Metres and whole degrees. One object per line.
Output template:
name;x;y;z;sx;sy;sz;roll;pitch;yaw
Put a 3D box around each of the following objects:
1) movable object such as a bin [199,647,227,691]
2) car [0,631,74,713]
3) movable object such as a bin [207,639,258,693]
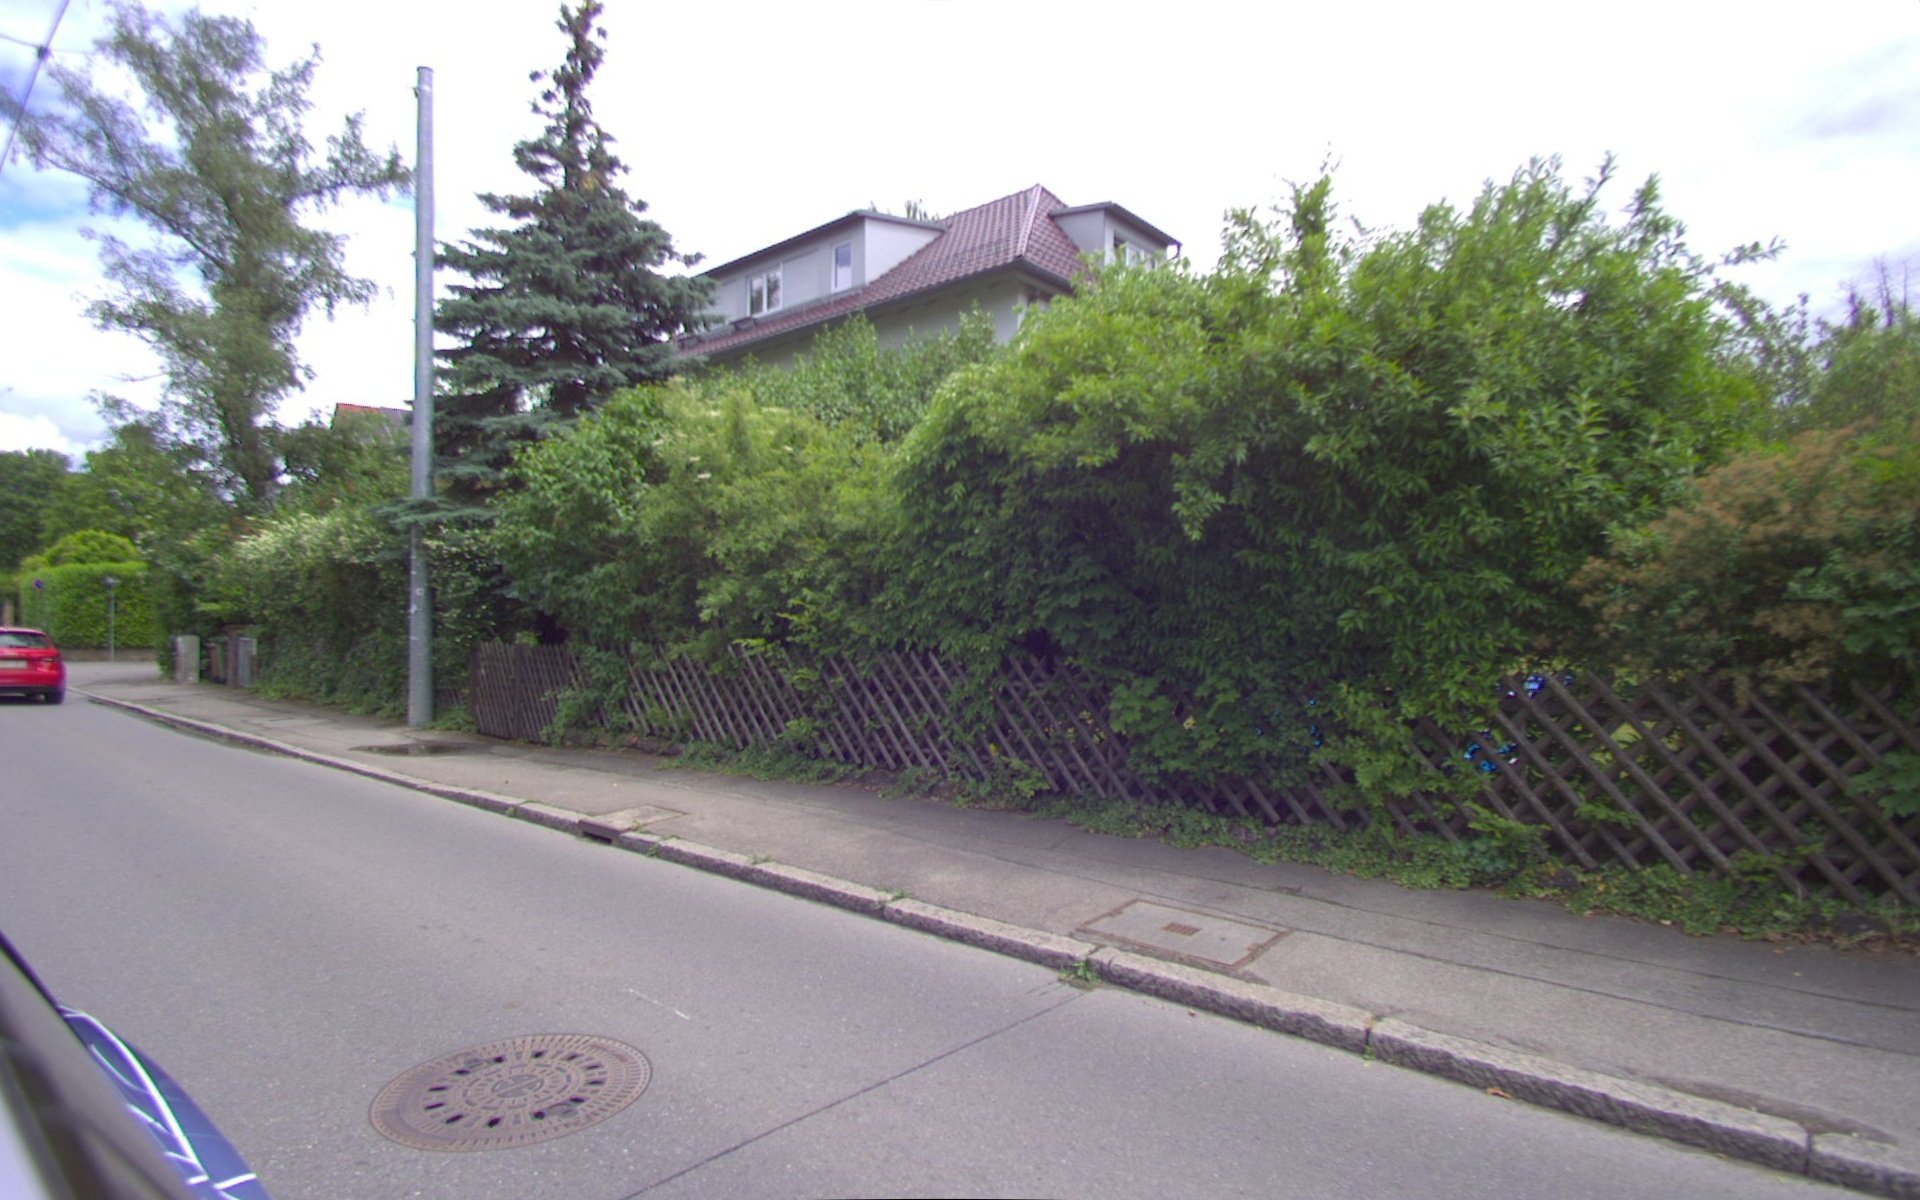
movable object such as a bin;-16.969;1.565;22.984;0.511;0.958;0.375;-1;1;38
car;-18.460;1.308;19.231;4.115;1.442;1.787;-1;-5;40
movable object such as a bin;-16.347;1.470;22.741;0.722;1.134;0.721;-1;1;38
